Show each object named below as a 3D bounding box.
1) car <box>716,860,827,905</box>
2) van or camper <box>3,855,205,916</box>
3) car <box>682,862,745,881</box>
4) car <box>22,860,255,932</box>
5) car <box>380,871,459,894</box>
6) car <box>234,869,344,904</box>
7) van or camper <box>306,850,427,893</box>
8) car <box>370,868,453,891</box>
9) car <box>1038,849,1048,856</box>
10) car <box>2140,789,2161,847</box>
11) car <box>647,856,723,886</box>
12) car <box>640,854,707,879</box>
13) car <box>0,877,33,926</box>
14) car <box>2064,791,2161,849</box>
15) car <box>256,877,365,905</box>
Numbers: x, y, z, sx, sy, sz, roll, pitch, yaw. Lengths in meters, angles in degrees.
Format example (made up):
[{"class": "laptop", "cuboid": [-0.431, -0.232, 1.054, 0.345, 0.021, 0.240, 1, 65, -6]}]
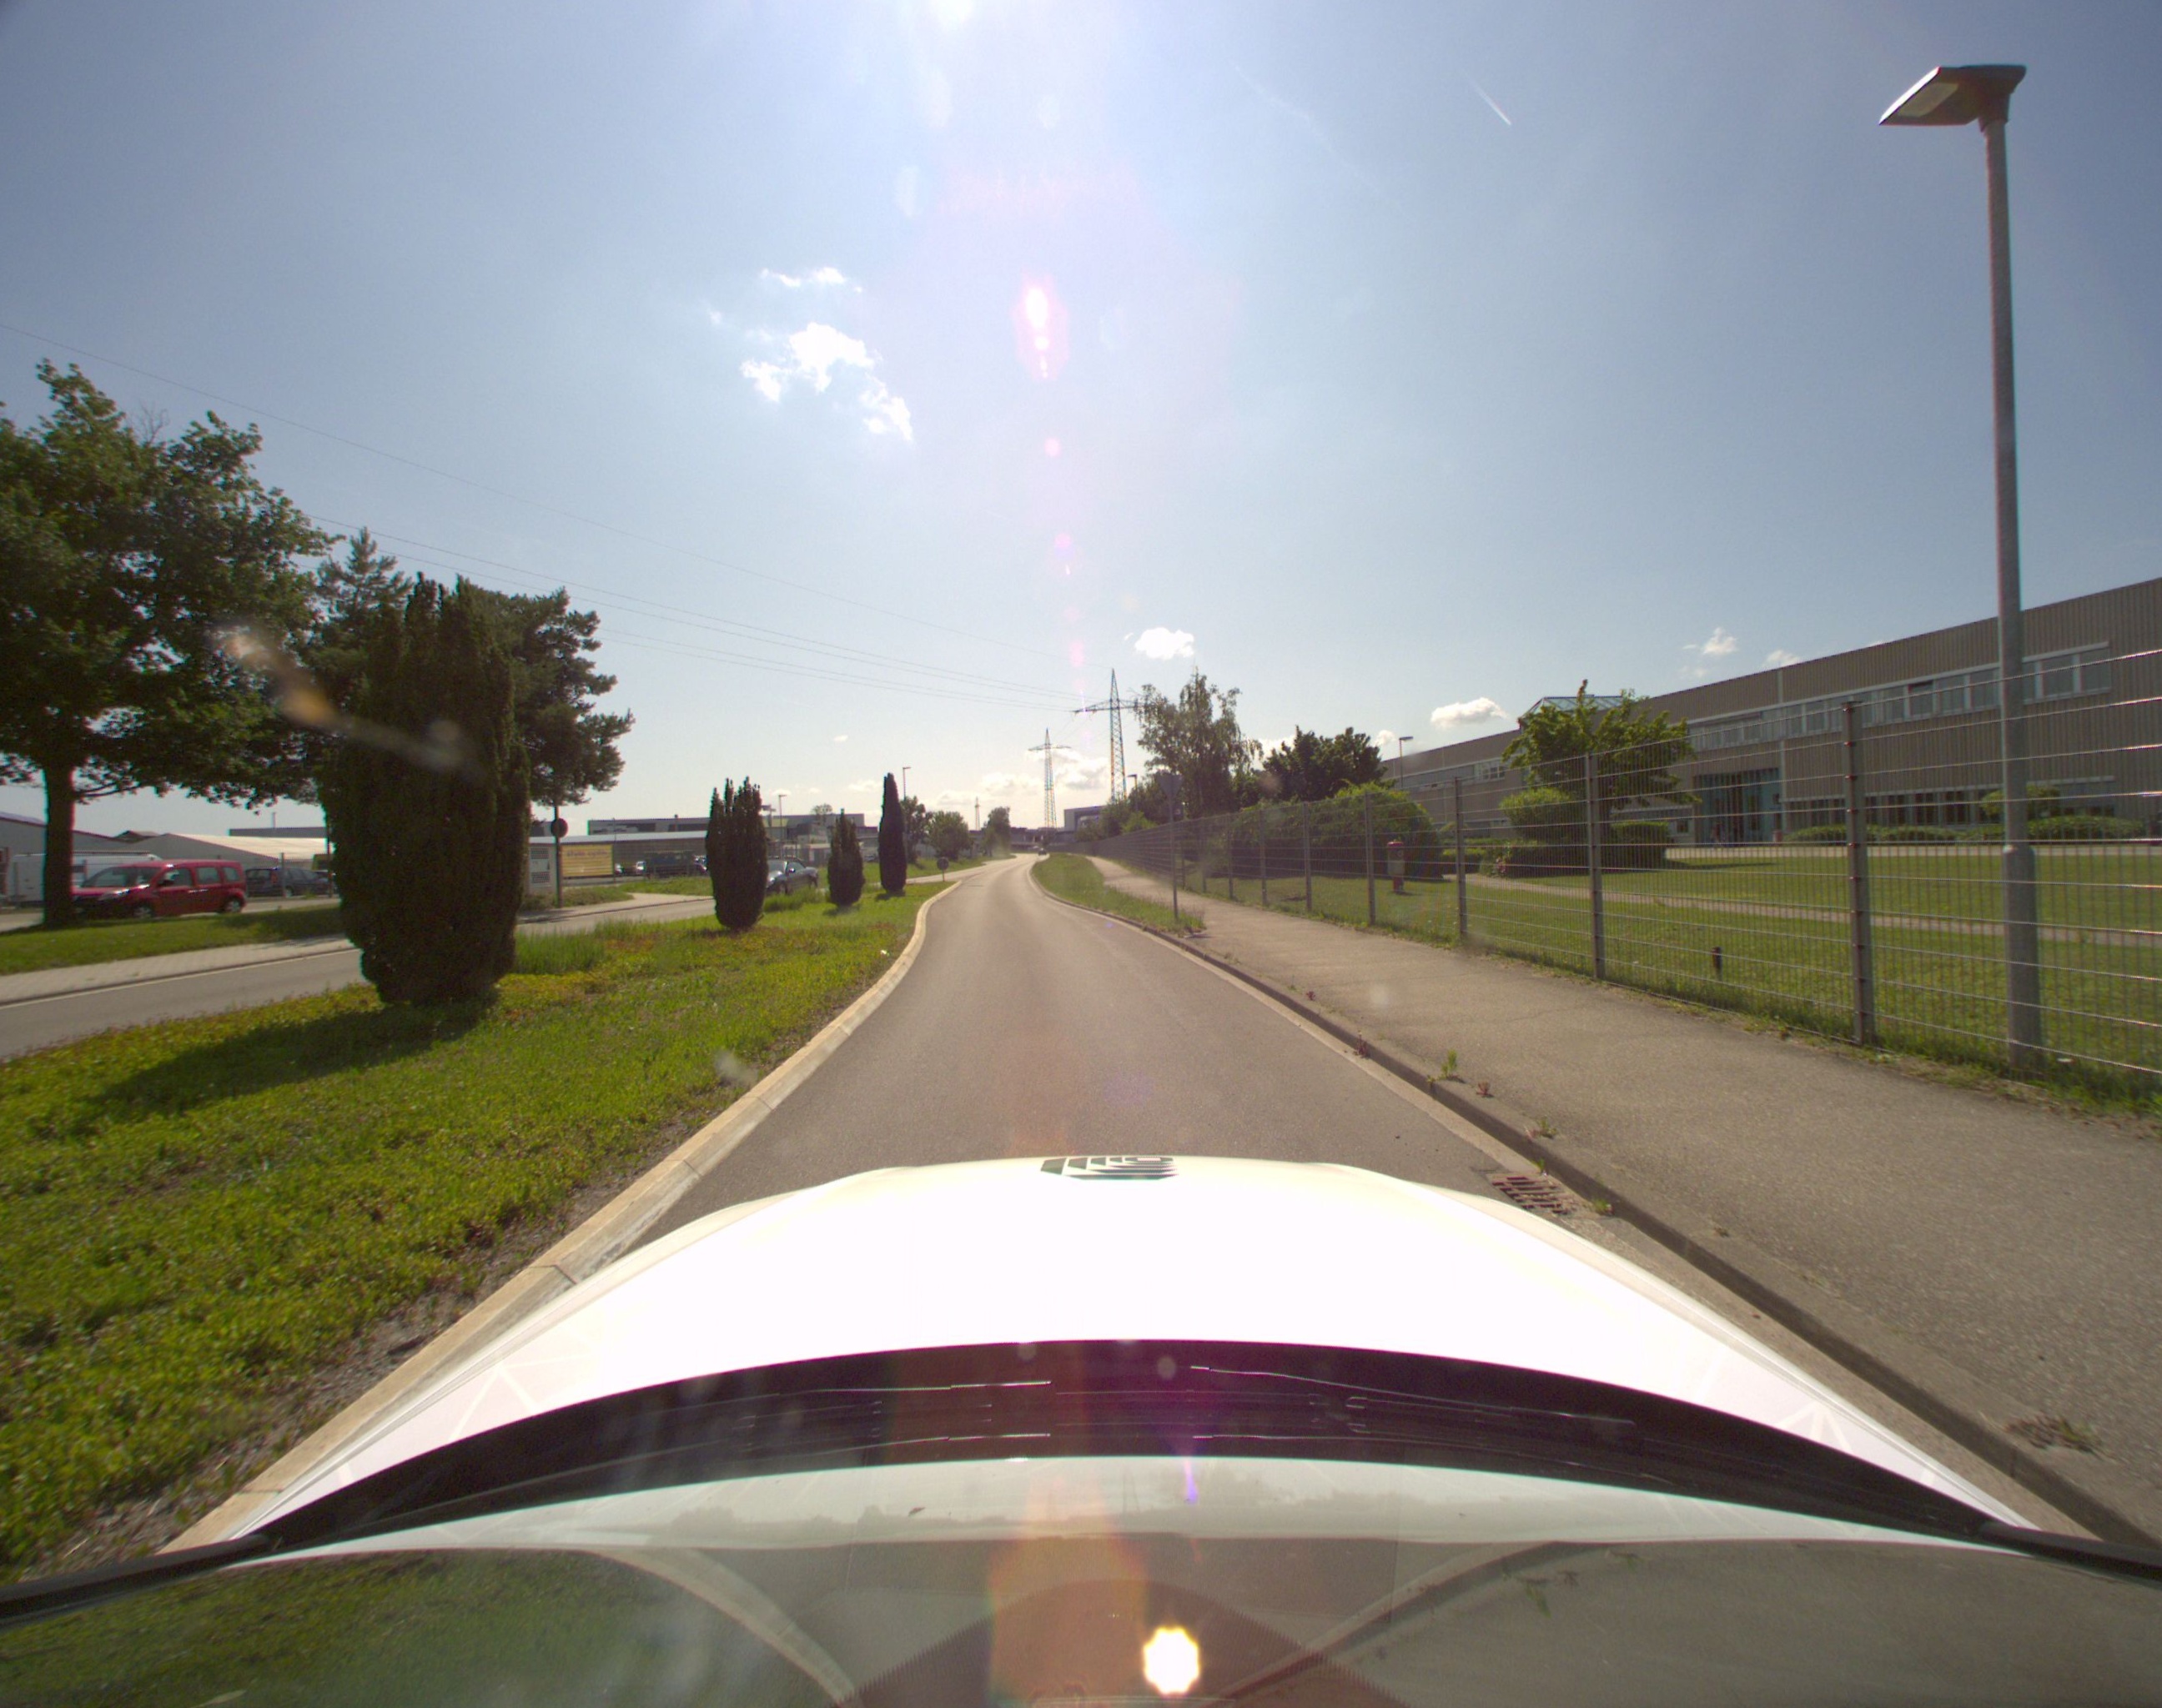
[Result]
[{"class": "car", "cuboid": [-11.106, 0.970, 29.644, 1.891, 1.394, 4.869, -2, 0, 3]}, {"class": "van or camper", "cuboid": [-46.871, 1.401, 39.421, 1.991, 2.599, 6.757, -2, 0, -5]}, {"class": "car", "cuboid": [-27.817, 1.303, 61.666, 4.017, 1.310, 1.922, -2, 0, -35]}, {"class": "car", "cuboid": [-26.728, 1.101, 23.363, 1.992, 1.744, 4.218, -2, 0, -7]}, {"class": "car", "cuboid": [-45.092, 1.904, 55.659, 4.017, 1.310, 1.922, -2, 0, -35]}, {"class": "car", "cuboid": [-38.299, 1.542, 39.542, 1.920, 1.433, 3.985, -2, 0, -11]}, {"class": "van or camper", "cuboid": [-43.763, 1.042, 50.067, 5.363, 2.375, 1.874, -2, 0, -35]}, {"class": "car", "cuboid": [-43.982, 1.642, 53.624, 4.017, 1.310, 1.922, -2, 0, -35]}, {"class": "car", "cuboid": [-8.538, -0.401, 181.459, 2.008, 1.508, 3.994, -2, 0, -4]}, {"class": "car", "cuboid": [39.795, -1.339, 28.218, 4.156, 2.013, 1.966, -2, 0, -8]}, {"class": "car", "cuboid": [-25.294, 1.095, 52.087, 4.126, 1.704, 1.704, -2, 0, -35]}, {"class": "car", "cuboid": [-25.018, 0.755, 49.990, 3.581, 1.401, 1.784, -2, 0, -30]}, {"class": "car", "cuboid": [-35.897, 1.576, 25.136, 3.989, 1.525, 1.929, -2, 0, -12]}, {"class": "car", "cuboid": [39.517, -1.291, 30.239, 4.156, 2.013, 1.966, -2, 0, -8]}, {"class": "car", "cuboid": [-43.047, 2.025, 45.569, 3.980, 1.310, 1.997, -2, 0, -5]}]
